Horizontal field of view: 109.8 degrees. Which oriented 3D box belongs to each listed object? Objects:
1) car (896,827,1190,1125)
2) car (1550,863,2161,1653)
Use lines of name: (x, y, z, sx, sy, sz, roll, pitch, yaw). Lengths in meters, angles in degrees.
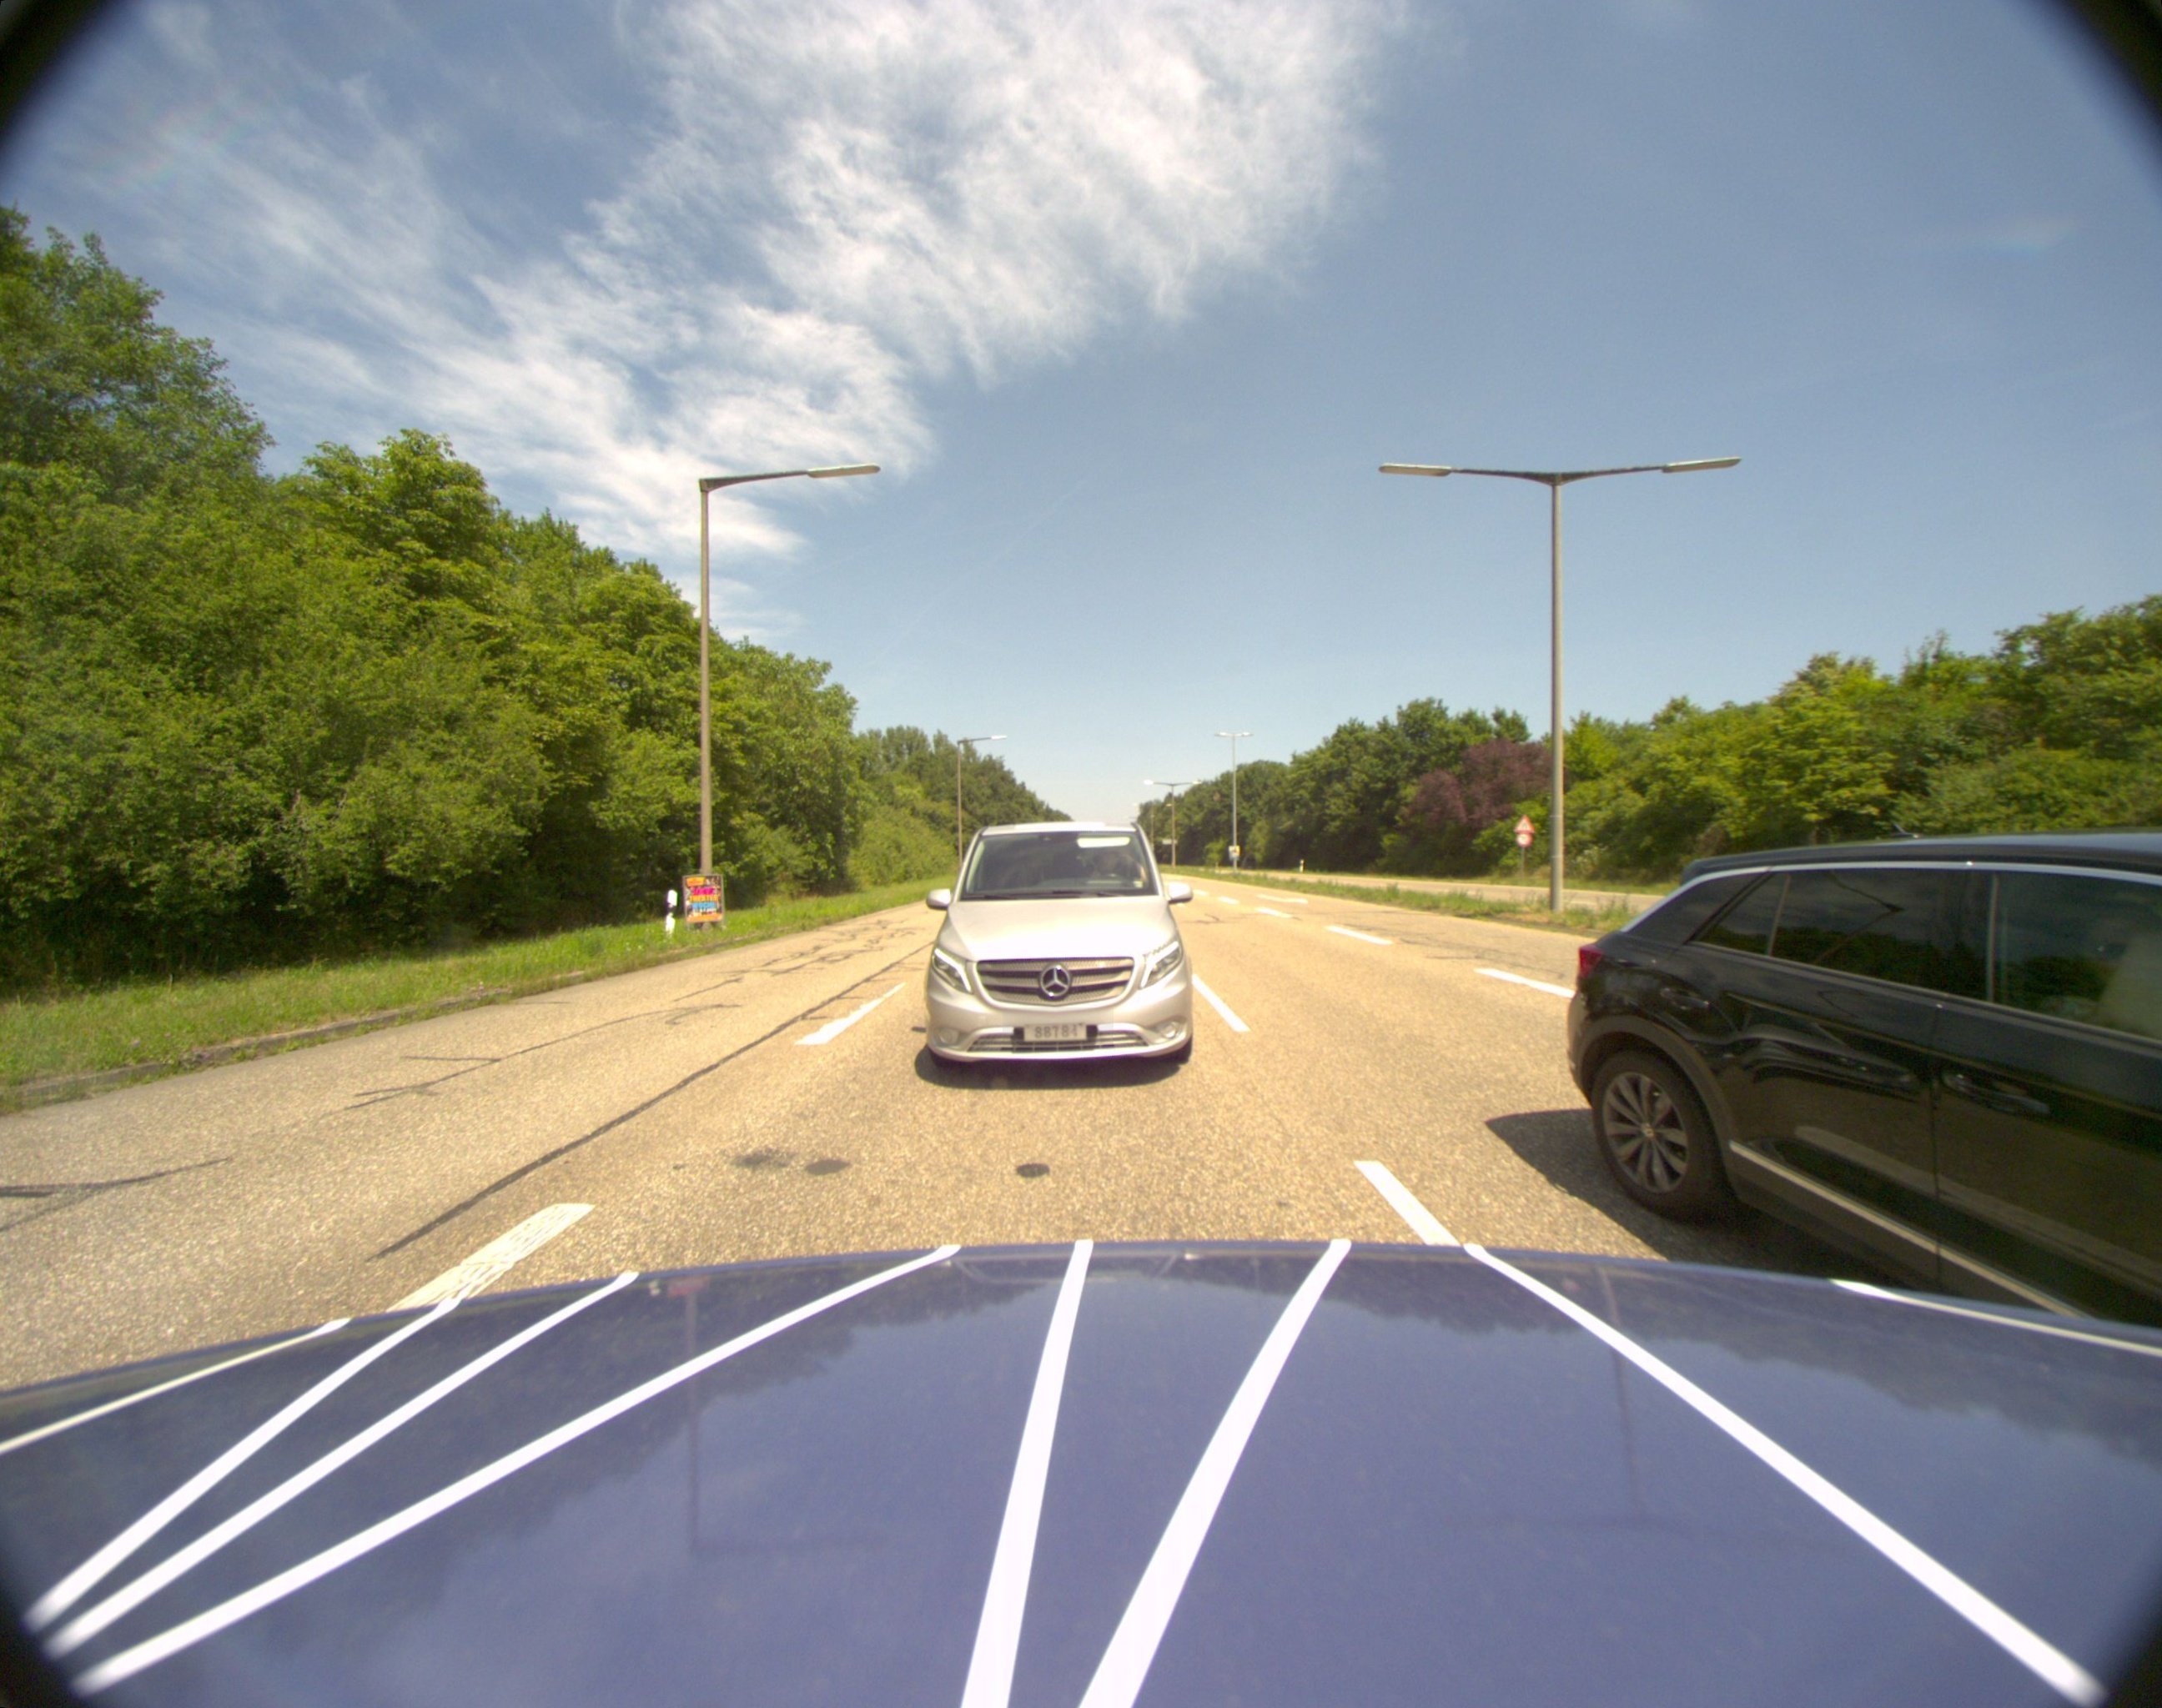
car: (-0.208, 0.756, 7.154, 1.764, 1.794, 4.855, -2, 0, 1)
car: (3.052, 0.851, 1.555, 1.739, 1.503, 3.970, -2, 1, 1)
